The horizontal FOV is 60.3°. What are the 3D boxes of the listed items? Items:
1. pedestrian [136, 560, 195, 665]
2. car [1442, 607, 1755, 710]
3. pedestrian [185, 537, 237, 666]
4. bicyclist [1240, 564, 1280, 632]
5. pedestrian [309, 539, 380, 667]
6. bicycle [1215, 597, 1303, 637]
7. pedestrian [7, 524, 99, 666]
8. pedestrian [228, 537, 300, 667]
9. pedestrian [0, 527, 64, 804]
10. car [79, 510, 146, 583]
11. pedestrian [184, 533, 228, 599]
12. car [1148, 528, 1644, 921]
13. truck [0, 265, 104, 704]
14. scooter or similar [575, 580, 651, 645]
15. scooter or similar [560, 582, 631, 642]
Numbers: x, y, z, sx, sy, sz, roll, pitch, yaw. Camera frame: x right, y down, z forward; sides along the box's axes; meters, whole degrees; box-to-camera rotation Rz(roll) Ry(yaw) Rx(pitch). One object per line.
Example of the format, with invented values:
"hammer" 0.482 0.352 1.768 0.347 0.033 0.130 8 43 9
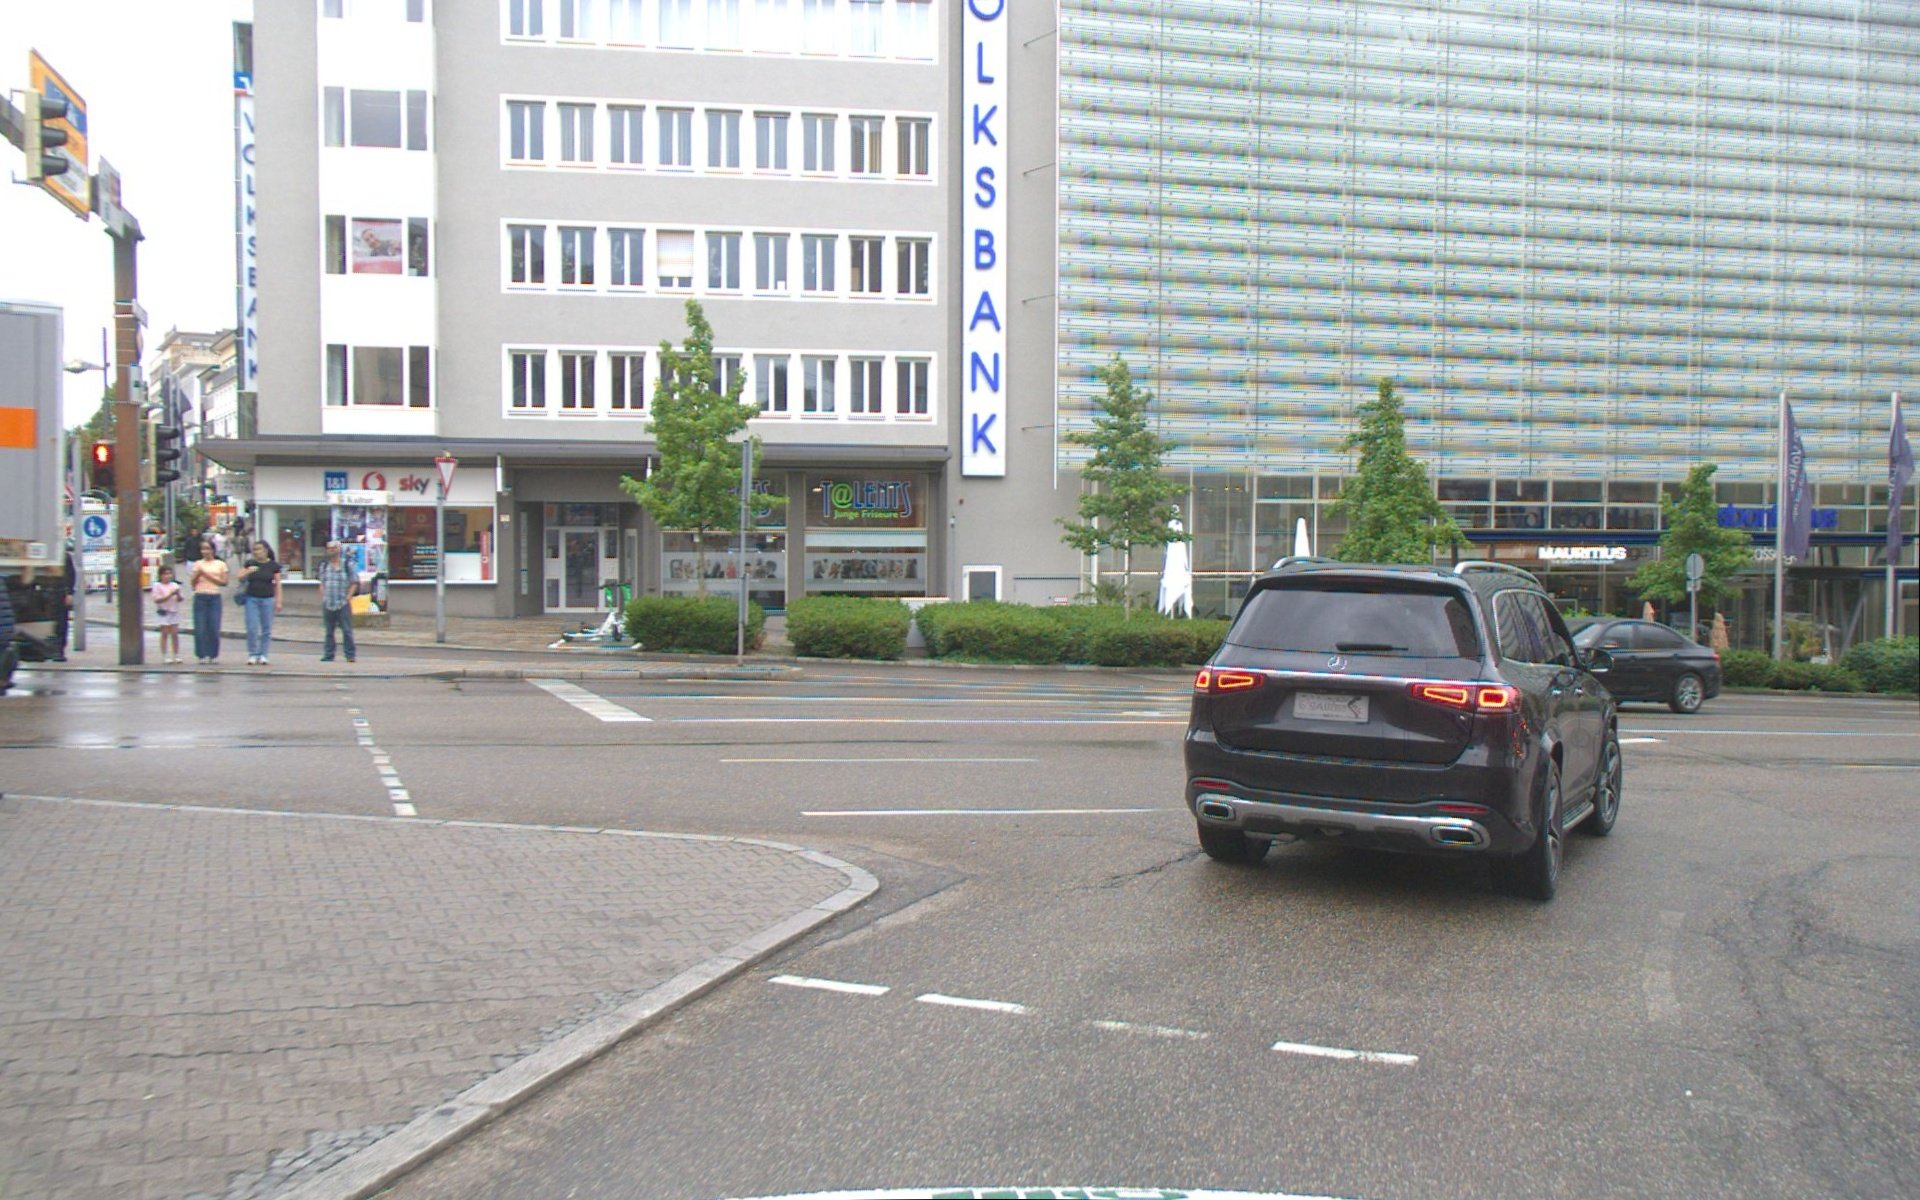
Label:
"pedestrian" -10.568 0.163 21.995 0.623 1.363 0.582 2 0 -31
"car" 10.084 0.927 26.132 4.558 1.450 1.985 2 0 -24
"pedestrian" -10.040 0.016 22.180 0.560 1.698 0.499 1 1 -18
"bicyclist" 7.679 -0.048 42.366 0.829 1.734 0.621 0 1 -11
"pedestrian" -8.913 0.044 23.937 0.821 1.809 0.611 2 0 -31
"bicycle" 7.650 0.436 42.357 2.099 1.010 0.692 0 1 -11
"pedestrian" -11.942 -0.067 21.769 0.999 1.818 0.844 2 0 -31
"pedestrian" -9.436 0.030 22.439 0.768 1.718 0.636 2 0 -16
"pedestrian" -5.861 0.371 9.899 0.702 1.595 0.850 2 -1 -20
"car" -37.083 -2.313 72.471 2.415 3.009 6.101 2 1 -27
"pedestrian" -21.345 -0.962 46.801 1.011 1.806 0.792 2 0 -31
"car" 3.056 0.623 10.650 2.048 1.848 4.786 3 0 27
"truck" -14.136 -1.237 15.643 10.622 4.409 2.827 1 1 -30
"scooter or similar" -7.432 0.257 35.493 1.468 1.278 0.930 1 4 -5
"scooter or similar" -7.435 0.249 33.770 1.353 1.207 0.543 0 1 -5
